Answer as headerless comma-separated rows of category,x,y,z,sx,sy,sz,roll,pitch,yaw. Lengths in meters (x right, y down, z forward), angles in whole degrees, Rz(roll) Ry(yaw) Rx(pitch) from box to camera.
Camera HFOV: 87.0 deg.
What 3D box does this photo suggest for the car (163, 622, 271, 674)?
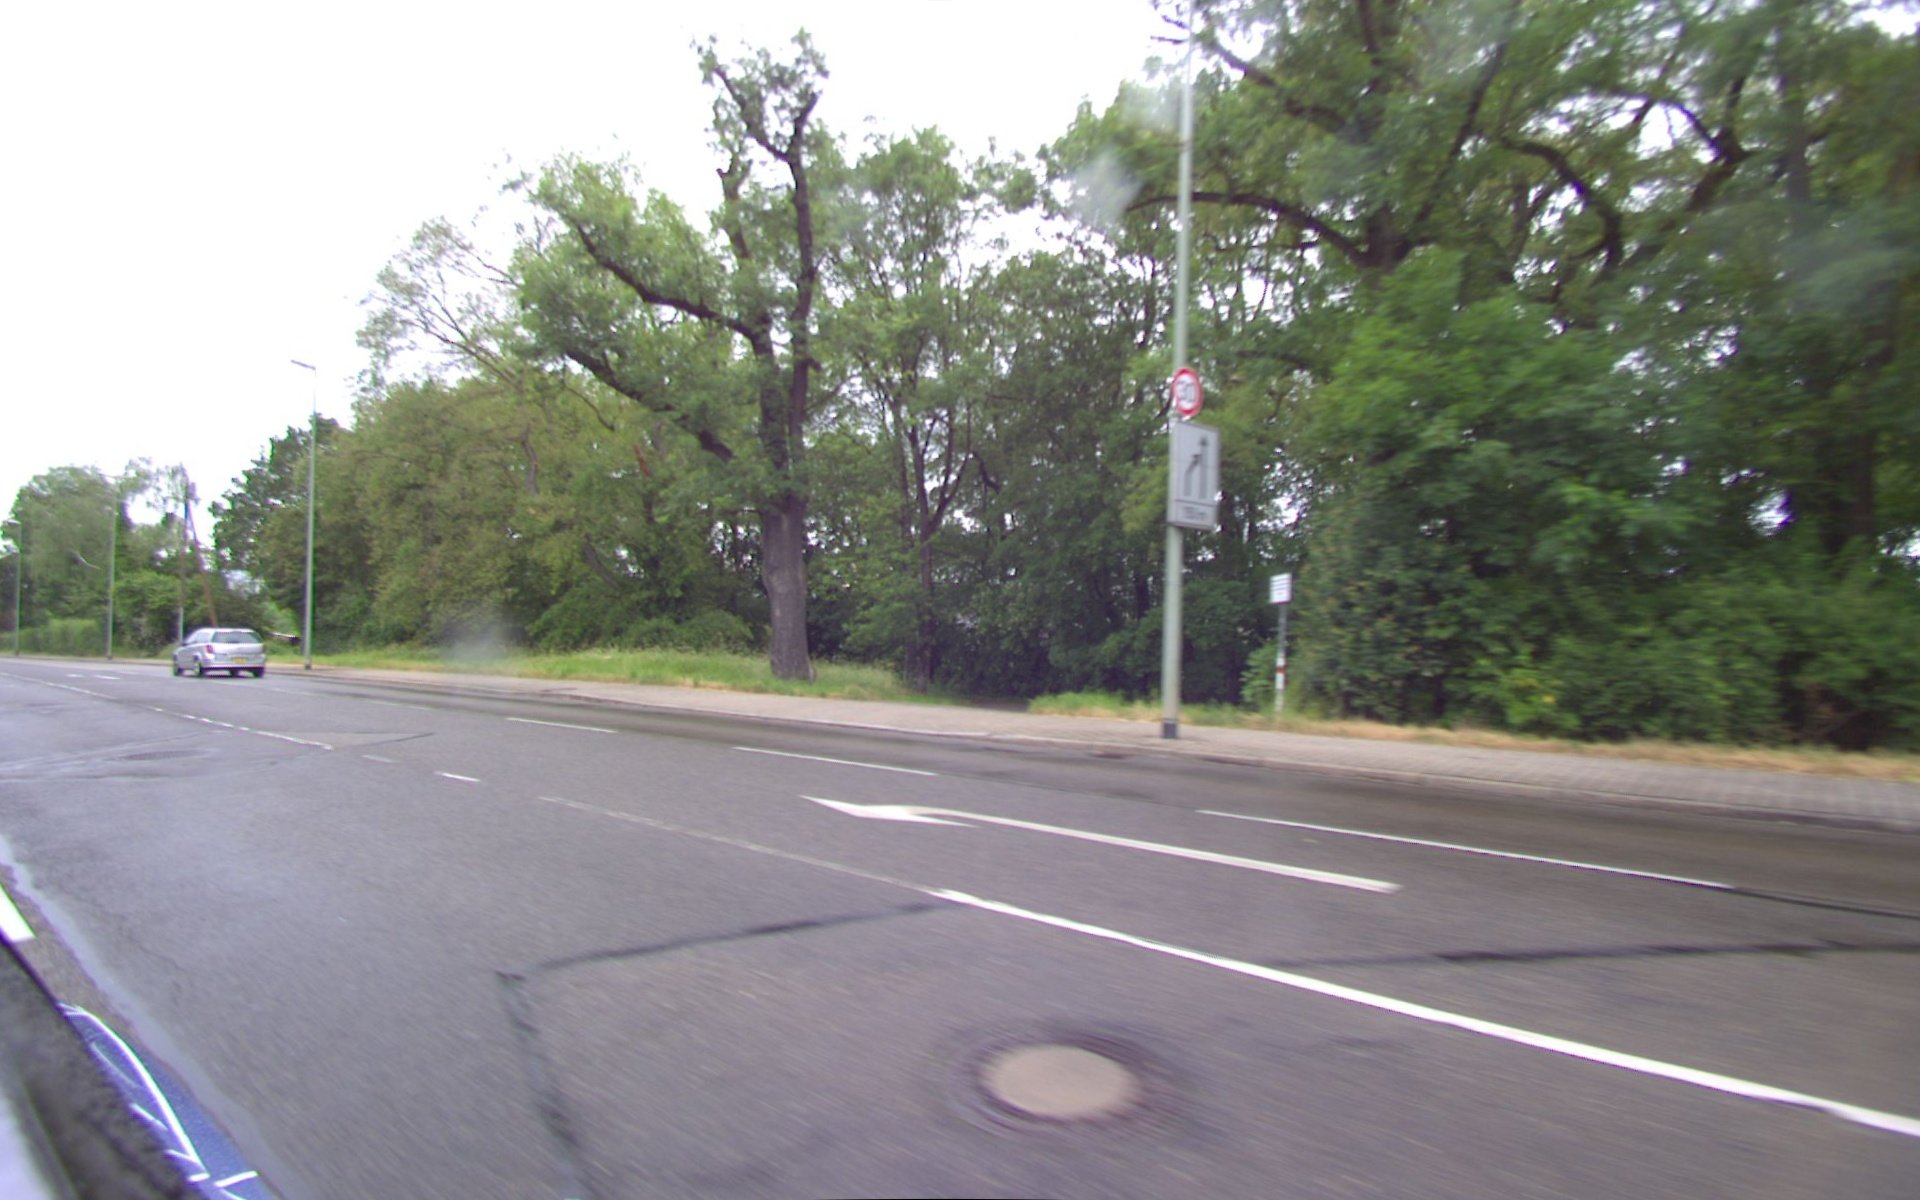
car,-23.019,1.478,31.290,4.449,1.494,1.672,-1,-4,41
